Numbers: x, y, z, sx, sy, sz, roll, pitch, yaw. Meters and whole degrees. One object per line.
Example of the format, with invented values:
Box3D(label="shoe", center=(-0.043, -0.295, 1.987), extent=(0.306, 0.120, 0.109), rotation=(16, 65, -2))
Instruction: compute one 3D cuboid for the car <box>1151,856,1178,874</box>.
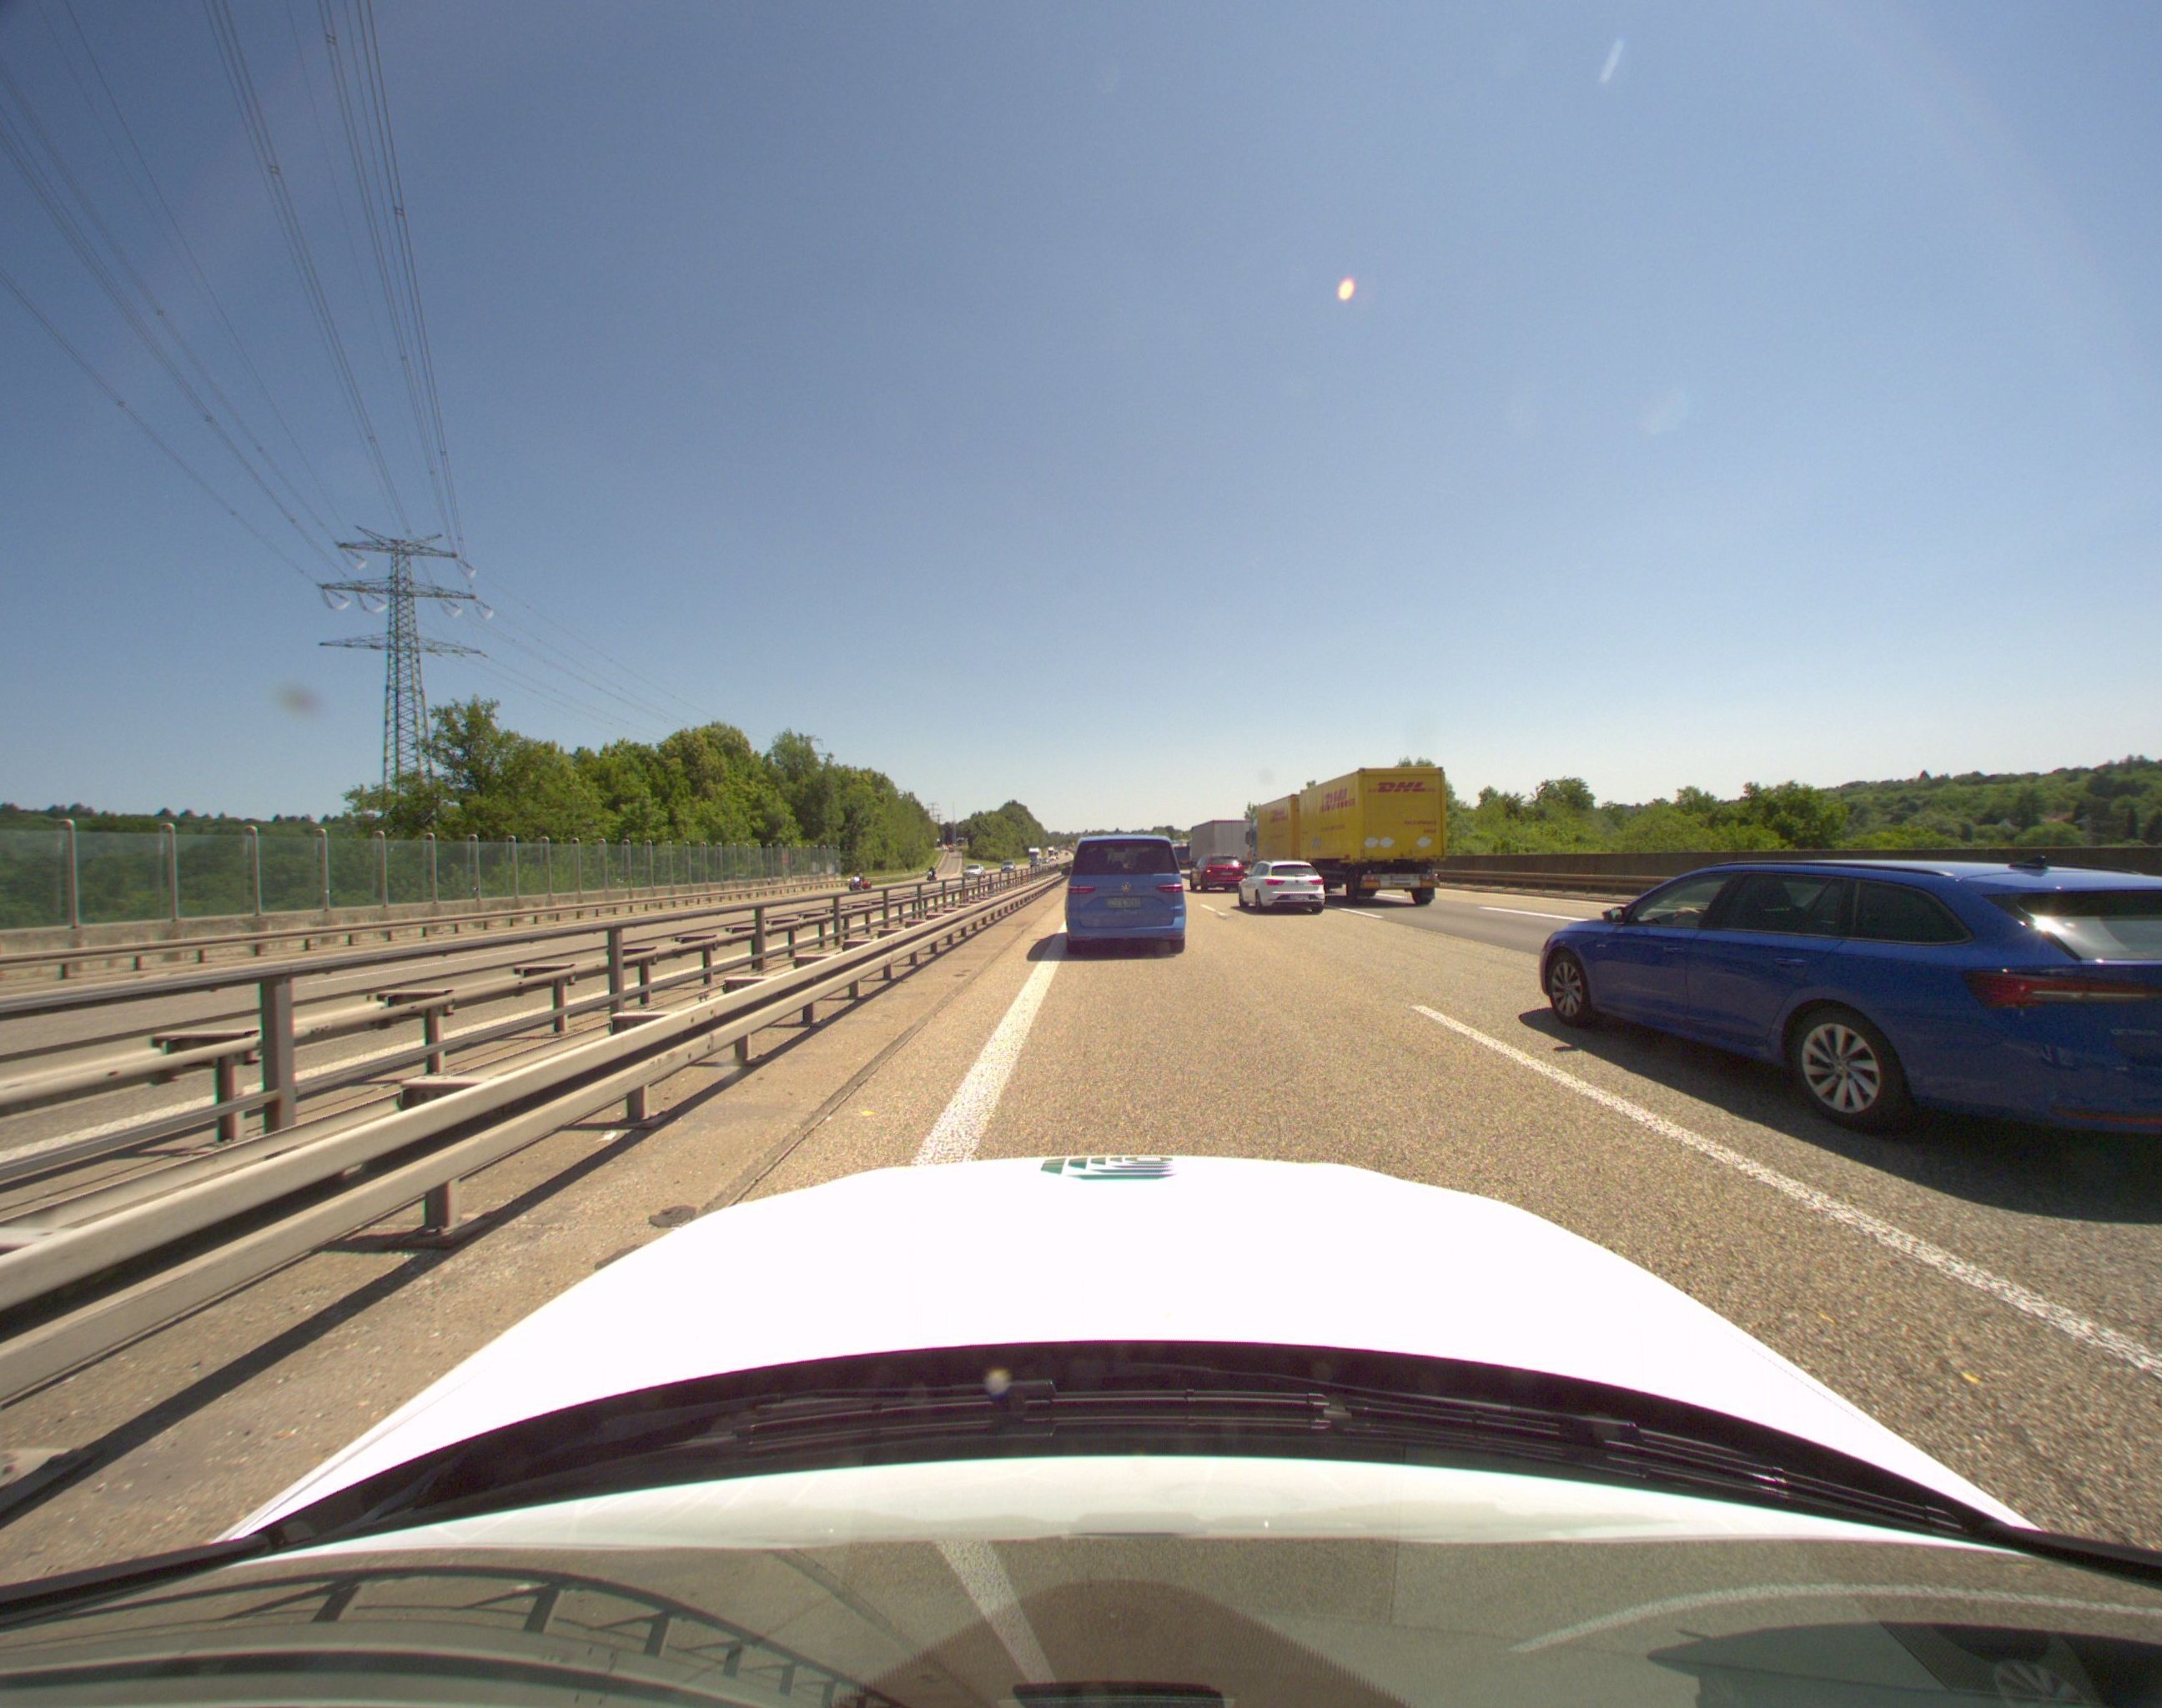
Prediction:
Box3D(label="car", center=(6.925, 0.884, 68.090), extent=(1.832, 1.414, 4.000), rotation=(-1, 0, 0))

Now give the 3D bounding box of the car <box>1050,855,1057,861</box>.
Box3D(label="car", center=(-8.684, 1.321, 259.503), extent=(1.915, 1.689, 4.122), rotation=(-4, 0, 1))

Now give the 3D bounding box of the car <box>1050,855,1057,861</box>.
Box3D(label="car", center=(-8.678, 1.309, 259.358), extent=(1.915, 1.689, 4.122), rotation=(-4, 0, 1))

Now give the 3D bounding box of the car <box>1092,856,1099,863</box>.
Box3D(label="car", center=(3.979, 1.496, 219.630), extent=(1.733, 1.911, 3.682), rotation=(0, -1, 1))

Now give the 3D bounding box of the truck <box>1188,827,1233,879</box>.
Box3D(label="truck", center=(10.670, 0.004, 67.707), extent=(2.758, 4.096, 6.986), rotation=(0, -1, 2))

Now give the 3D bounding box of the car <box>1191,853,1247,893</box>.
Box3D(label="car", center=(6.017, 0.813, 35.911), extent=(1.844, 1.608, 4.002), rotation=(-1, 0, 2))

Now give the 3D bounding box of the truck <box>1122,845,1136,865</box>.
Box3D(label="truck", center=(12.126, 0.244, 207.409), extent=(2.824, 4.886, 13.218), rotation=(0, -1, 0))

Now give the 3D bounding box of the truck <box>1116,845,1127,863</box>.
Box3D(label="truck", center=(12.418, 0.093, 249.194), extent=(2.824, 5.040, 12.911), rotation=(0, -1, 0))

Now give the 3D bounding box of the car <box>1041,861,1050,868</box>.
Box3D(label="car", center=(-8.747, 2.559, 202.076), extent=(1.823, 1.609, 4.169), rotation=(-2, -1, 1))

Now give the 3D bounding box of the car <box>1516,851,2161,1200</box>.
Box3D(label="car", center=(4.997, 0.729, 5.644), extent=(1.703, 1.440, 4.503), rotation=(-1, 0, 2))

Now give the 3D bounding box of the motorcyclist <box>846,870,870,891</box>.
Box3D(label="motorcyclist", center=(-14.678, 1.737, 53.548), extent=(1.182, 1.256, 1.119), rotation=(-4, 0, 1))

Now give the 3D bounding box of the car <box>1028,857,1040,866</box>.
Box3D(label="car", center=(-8.769, 1.402, 153.449), extent=(1.823, 1.609, 4.170), rotation=(-4, 0, 1))

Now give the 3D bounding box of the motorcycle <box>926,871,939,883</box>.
Box3D(label="motorcycle", center=(-14.149, 2.179, 77.660), extent=(0.699, 1.070, 2.306), rotation=(-3, 1, 2))

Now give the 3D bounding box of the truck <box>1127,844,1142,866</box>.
Box3D(label="truck", center=(12.126, 0.317, 185.779), extent=(2.824, 5.040, 11.815), rotation=(0, -1, 0))

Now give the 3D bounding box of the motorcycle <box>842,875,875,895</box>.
Box3D(label="motorcycle", center=(-14.644, 2.033, 53.651), extent=(1.361, 1.099, 2.577), rotation=(-4, 0, 1))

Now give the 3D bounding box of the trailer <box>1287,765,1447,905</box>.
Box3D(label="trailer", center=(9.406, -0.484, 28.032), extent=(2.690, 4.024, 8.935), rotation=(0, -1, 3))

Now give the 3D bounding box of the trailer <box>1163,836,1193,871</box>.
Box3D(label="trailer", center=(11.010, 0.081, 93.172), extent=(2.371, 3.744, 11.190), rotation=(0, -1, 1))

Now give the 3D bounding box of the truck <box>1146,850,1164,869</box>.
Box3D(label="truck", center=(12.753, 0.994, 141.050), extent=(2.347, 3.218, 9.740), rotation=(0, -1, 0))

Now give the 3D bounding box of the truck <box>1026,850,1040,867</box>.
Box3D(label="truck", center=(-12.821, 1.252, 218.687), extent=(2.978, 4.279, 7.190), rotation=(-2, 0, 1))

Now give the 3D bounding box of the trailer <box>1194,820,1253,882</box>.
Box3D(label="trailer", center=(10.422, -0.115, 60.665), extent=(2.744, 4.146, 11.315), rotation=(0, -1, 2))

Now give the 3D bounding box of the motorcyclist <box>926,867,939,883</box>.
Box3D(label="motorcyclist", center=(-14.165, 1.986, 77.693), extent=(0.894, 1.441, 1.083), rotation=(-2, 0, 1))

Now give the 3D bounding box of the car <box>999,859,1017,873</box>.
Box3D(label="car", center=(-9.629, 1.555, 107.467), extent=(1.823, 1.609, 4.170), rotation=(-5, 0, 1))

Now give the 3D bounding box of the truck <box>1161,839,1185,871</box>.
Box3D(label="truck", center=(11.169, 0.171, 99.171), extent=(2.359, 3.722, 6.034), rotation=(0, -1, 1))

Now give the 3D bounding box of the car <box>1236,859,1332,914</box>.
Box3D(label="car", center=(5.626, 0.842, 23.030), extent=(1.774, 1.387, 4.189), rotation=(-1, 0, 2))

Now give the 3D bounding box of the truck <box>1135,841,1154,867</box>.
Box3D(label="truck", center=(12.250, 0.085, 158.387), extent=(2.824, 5.040, 11.145), rotation=(0, -1, 0))

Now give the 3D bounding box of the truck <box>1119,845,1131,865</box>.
Box3D(label="truck", center=(12.202, 0.308, 225.429), extent=(2.824, 5.373, 12.553), rotation=(0, -1, 0))

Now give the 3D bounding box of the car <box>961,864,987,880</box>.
Box3D(label="car", center=(-10.359, 1.744, 79.138), extent=(1.709, 1.434, 4.177), rotation=(-4, -1, 1))

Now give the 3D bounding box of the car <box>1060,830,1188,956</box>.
Box3D(label="car", center=(0.717, 0.595, 14.171), extent=(1.875, 1.837, 4.002), rotation=(-1, 0, 2))

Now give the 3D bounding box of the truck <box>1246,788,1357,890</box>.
Box3D(label="truck", center=(9.851, -0.511, 37.681), extent=(2.711, 4.055, 10.342), rotation=(0, -1, 2))
